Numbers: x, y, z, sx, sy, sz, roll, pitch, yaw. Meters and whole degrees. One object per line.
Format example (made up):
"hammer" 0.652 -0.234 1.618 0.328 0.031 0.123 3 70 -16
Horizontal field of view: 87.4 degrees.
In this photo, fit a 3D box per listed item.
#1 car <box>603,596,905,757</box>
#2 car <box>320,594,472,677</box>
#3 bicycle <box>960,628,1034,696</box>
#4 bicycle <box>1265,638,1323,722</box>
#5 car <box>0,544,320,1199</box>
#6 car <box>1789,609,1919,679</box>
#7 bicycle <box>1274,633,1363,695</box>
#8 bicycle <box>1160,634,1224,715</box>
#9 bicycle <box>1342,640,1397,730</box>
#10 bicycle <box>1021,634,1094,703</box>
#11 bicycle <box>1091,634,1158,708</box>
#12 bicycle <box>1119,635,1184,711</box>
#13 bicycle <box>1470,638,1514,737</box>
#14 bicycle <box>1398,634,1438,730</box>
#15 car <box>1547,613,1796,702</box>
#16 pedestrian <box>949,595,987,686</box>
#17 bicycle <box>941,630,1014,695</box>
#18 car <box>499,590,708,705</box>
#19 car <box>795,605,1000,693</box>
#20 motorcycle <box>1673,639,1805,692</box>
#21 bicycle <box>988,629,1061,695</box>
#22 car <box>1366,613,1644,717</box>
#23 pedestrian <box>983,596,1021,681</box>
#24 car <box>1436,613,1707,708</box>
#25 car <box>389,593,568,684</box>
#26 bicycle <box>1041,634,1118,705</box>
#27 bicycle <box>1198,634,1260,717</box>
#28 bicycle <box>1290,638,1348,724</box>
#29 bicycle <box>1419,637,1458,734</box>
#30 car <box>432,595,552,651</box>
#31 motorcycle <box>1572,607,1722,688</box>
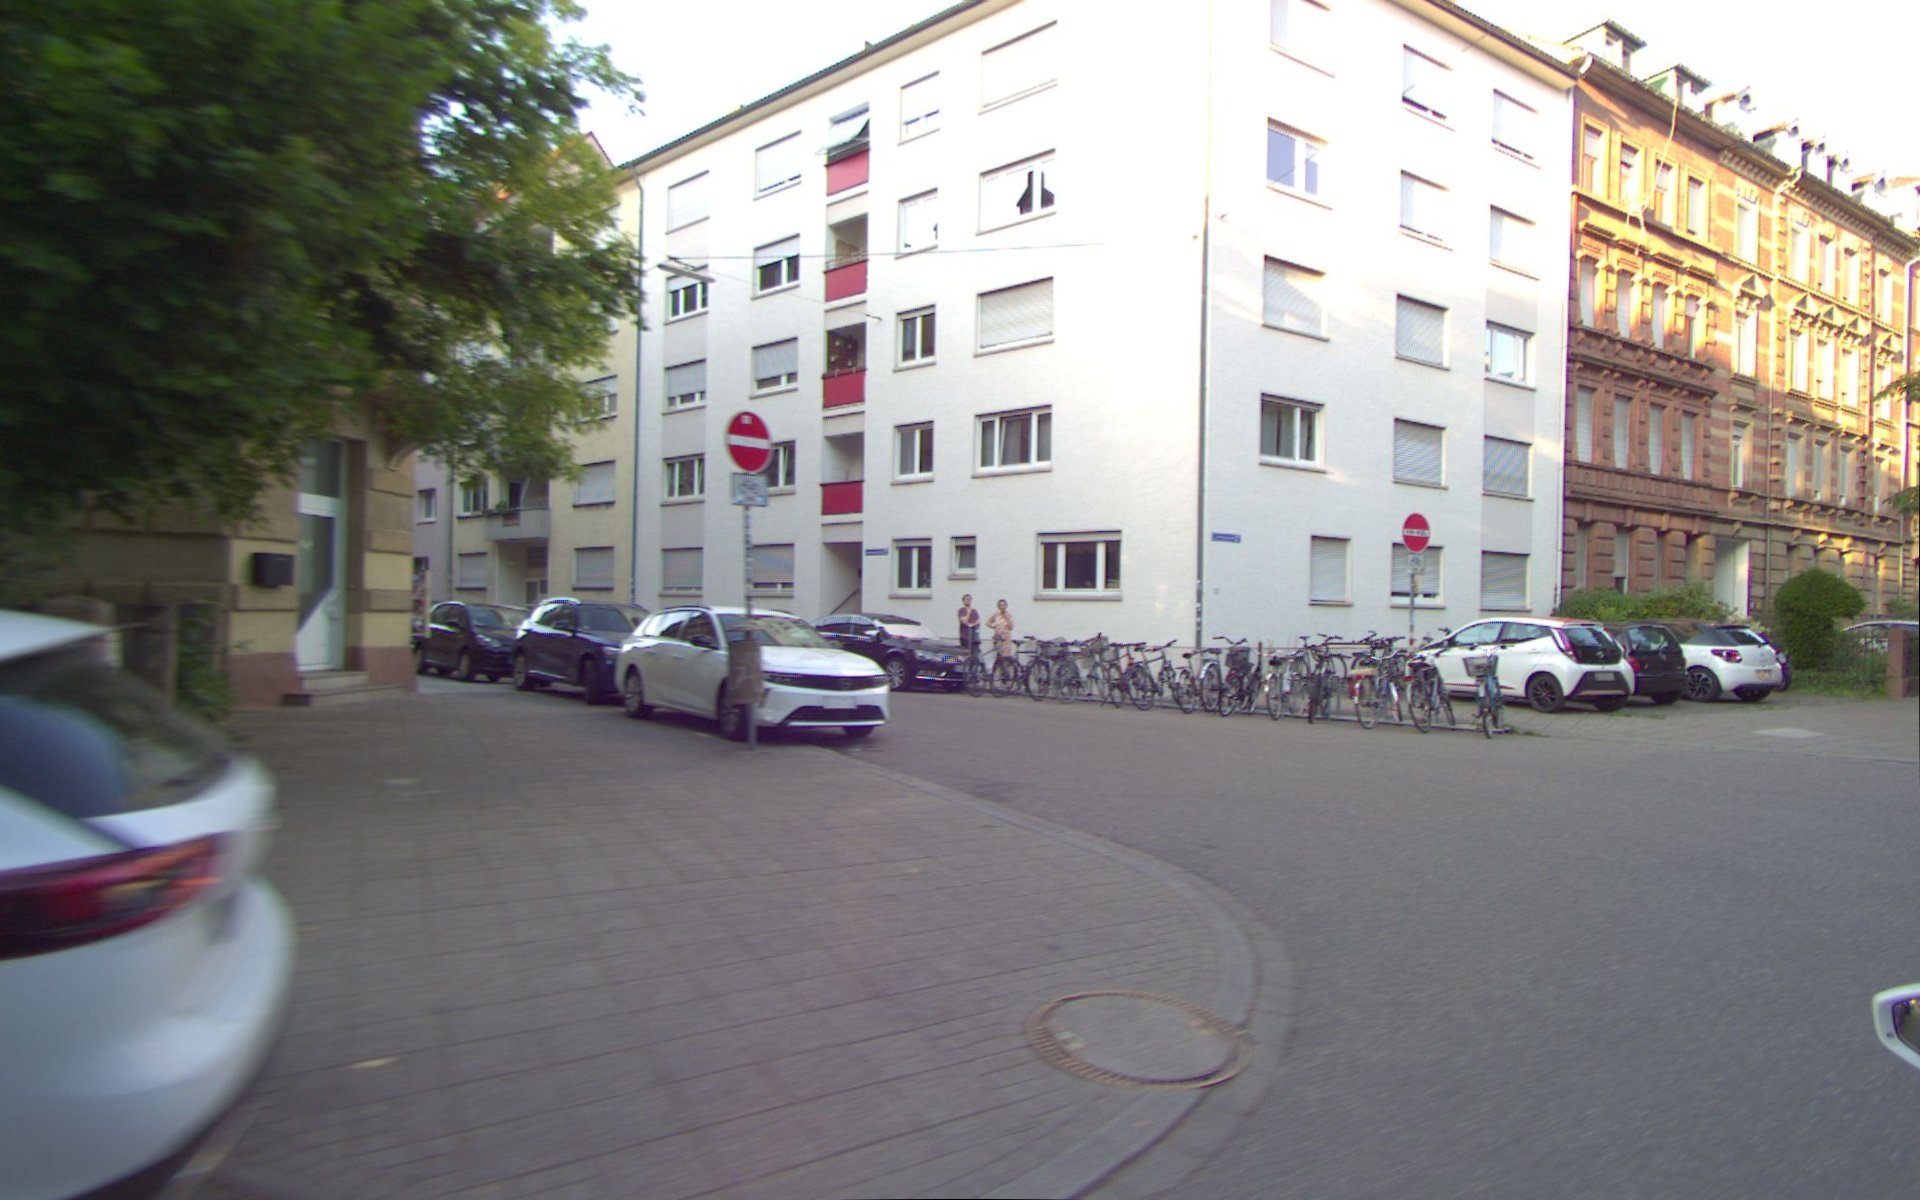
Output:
"car" -2.648 0.755 12.083 1.695 1.573 4.415 0 0 -40
"car" -12.495 0.757 22.178 3.818 1.668 1.701 0 -2 41
"bicycle" 0.701 1.109 18.449 0.361 1.181 1.845 1 0 36
"bicycle" 4.989 1.153 14.951 0.361 1.124 1.847 1 0 33
"car" -3.639 0.626 1.294 4.684 1.522 1.680 1 2 -32
"car" 24.004 1.138 25.567 1.690 1.548 4.070 1 3 -31
"bicycle" 6.508 1.139 18.195 1.856 1.076 0.394 1 0 -30
"bicycle" 3.673 1.137 15.787 0.361 1.167 1.847 1 0 33
"bicycle" 5.722 1.142 13.980 0.361 1.124 1.847 1 0 33
"bicycle" 1.720 1.162 17.549 0.361 1.120 1.845 1 0 36
"bicycle" 2.760 1.144 16.716 0.361 1.131 1.847 1 0 33
"bicycle" 3.123 1.145 16.260 0.361 1.131 1.847 1 0 33
"bicycle" 6.980 1.108 13.144 0.332 1.197 1.873 1 -1 33
"bicycle" 6.241 1.075 13.652 0.239 1.197 1.675 1 0 33
"car" 13.651 1.035 19.503 1.790 1.467 3.557 0 1 -21
"pedestrian" 0.163 0.818 20.524 0.494 1.789 0.621 2 5 37
"bicycle" 0.351 1.134 18.716 0.361 1.120 1.845 1 0 36
"car" -5.749 0.697 15.921 1.696 1.572 4.056 4 -2 -41
"car" -1.251 0.916 19.514 3.654 1.492 1.793 1 -3 37
"motorcycle" 16.574 1.362 21.449 0.578 0.971 2.232 1 0 -21
"bicycle" 1.182 1.088 18.081 0.361 1.120 1.845 1 0 36
"car" 9.127 0.997 17.224 1.684 1.467 4.085 0 1 -21
"pedestrian" 0.869 0.782 20.739 0.528 1.706 0.579 2 4 39
"car" 11.127 1.016 18.633 1.790 1.467 4.087 0 1 -20
"car" -9.279 0.697 19.243 3.819 1.572 1.700 0 -2 42
"bicycle" 2.071 1.163 17.232 0.395 1.131 1.844 1 0 38
"bicycle" 4.159 1.124 15.439 0.361 1.167 1.847 1 0 33
"bicycle" 5.219 1.129 14.533 0.361 1.124 1.847 1 0 33
"bicycle" 6.447 1.108 13.498 0.239 1.197 1.675 1 0 33
"car" -14.348 0.674 30.736 4.046 1.572 1.836 1 0 41
"motorcycle" 15.209 1.007 22.370 0.665 1.660 2.846 1 0 -22
